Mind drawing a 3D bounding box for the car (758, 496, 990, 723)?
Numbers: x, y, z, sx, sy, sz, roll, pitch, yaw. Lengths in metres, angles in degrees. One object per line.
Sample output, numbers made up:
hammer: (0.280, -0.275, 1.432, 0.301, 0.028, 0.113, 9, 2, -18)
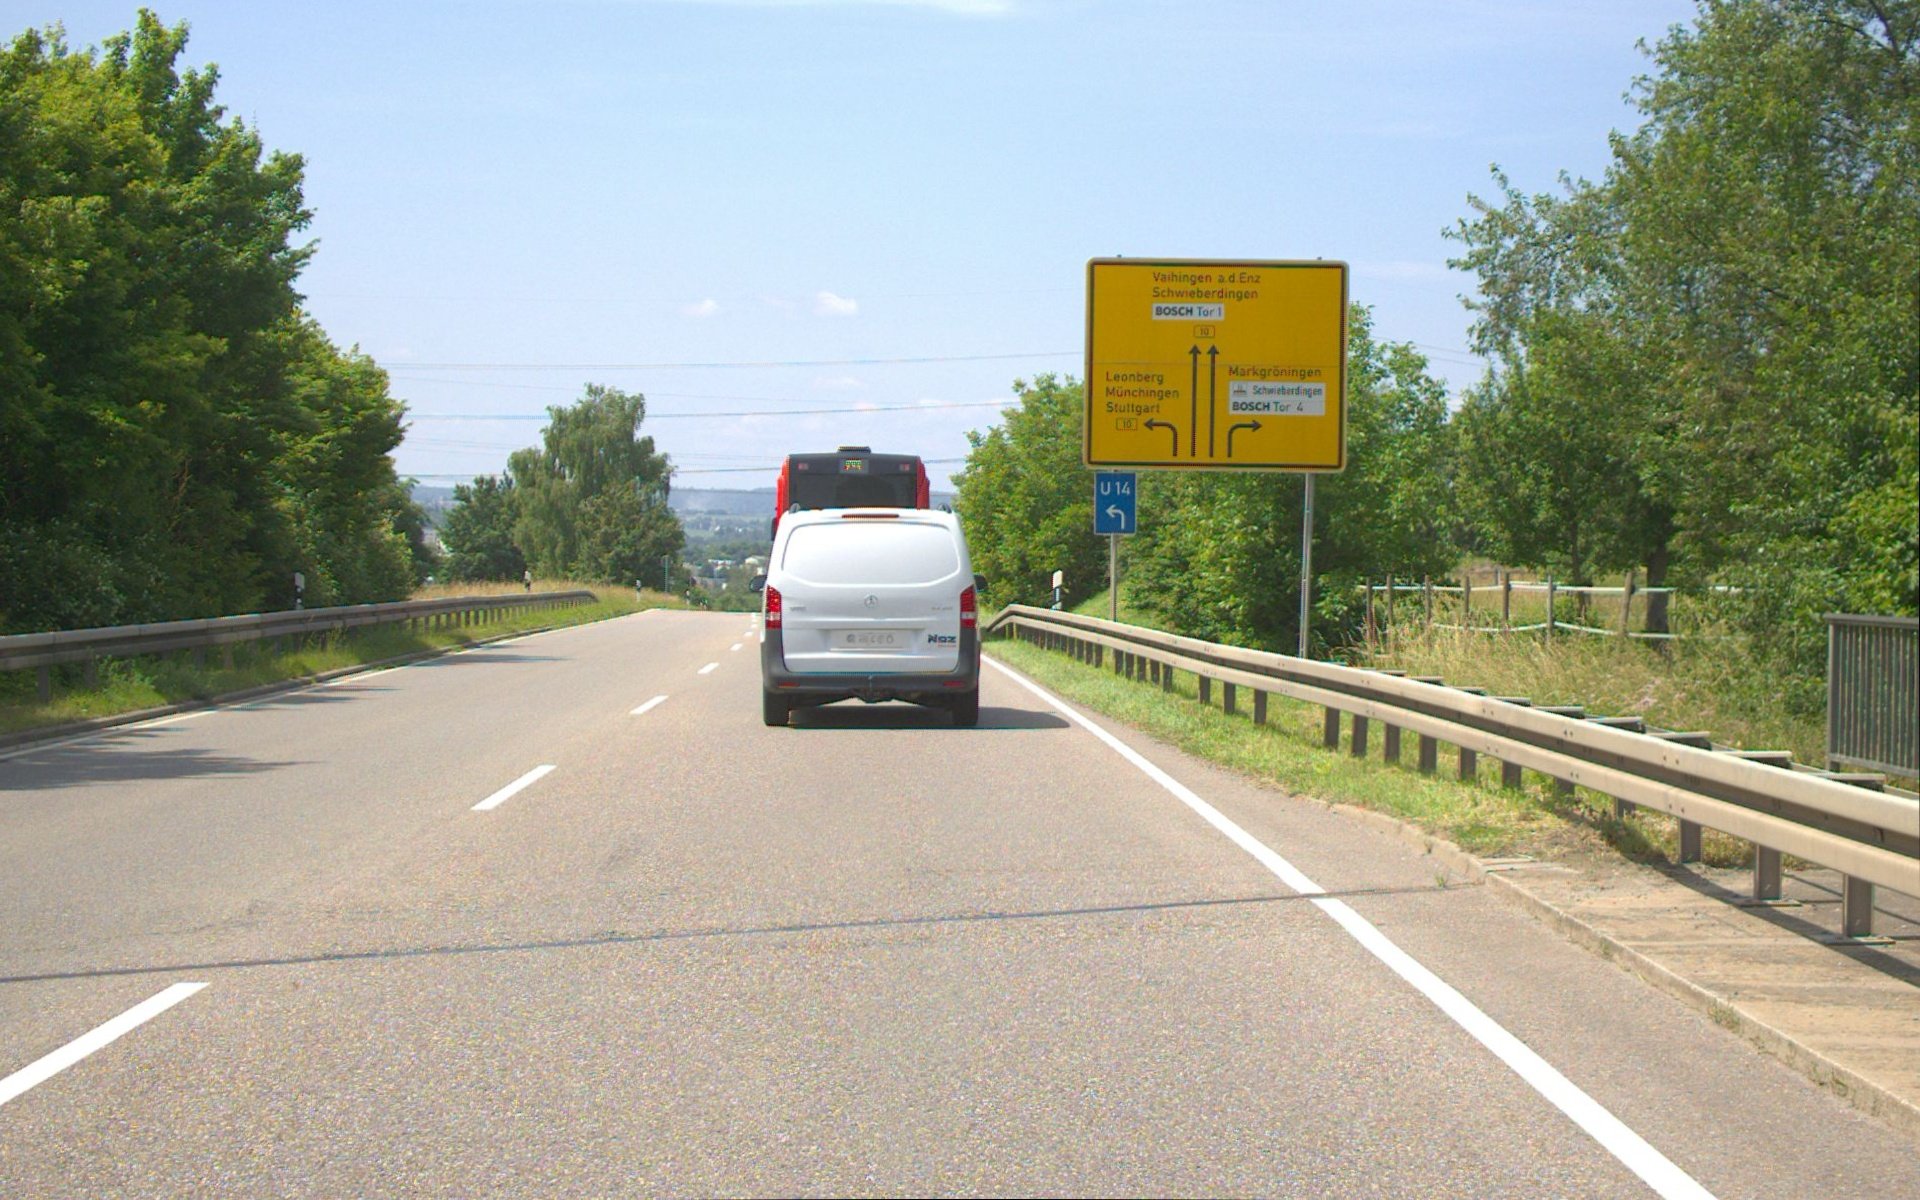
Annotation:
car: (-0.762, 0.027, 30.835, 1.923, 1.883, 4.001, 1, 1, -1)

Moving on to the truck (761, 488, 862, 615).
truck: (-5.587, -1.877, 127.368, 3.488, 4.408, 14.905, 0, 1, -3)

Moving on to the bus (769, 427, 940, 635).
bus: (-2.022, -1.273, 62.121, 2.747, 3.342, 13.223, 0, 1, -3)
